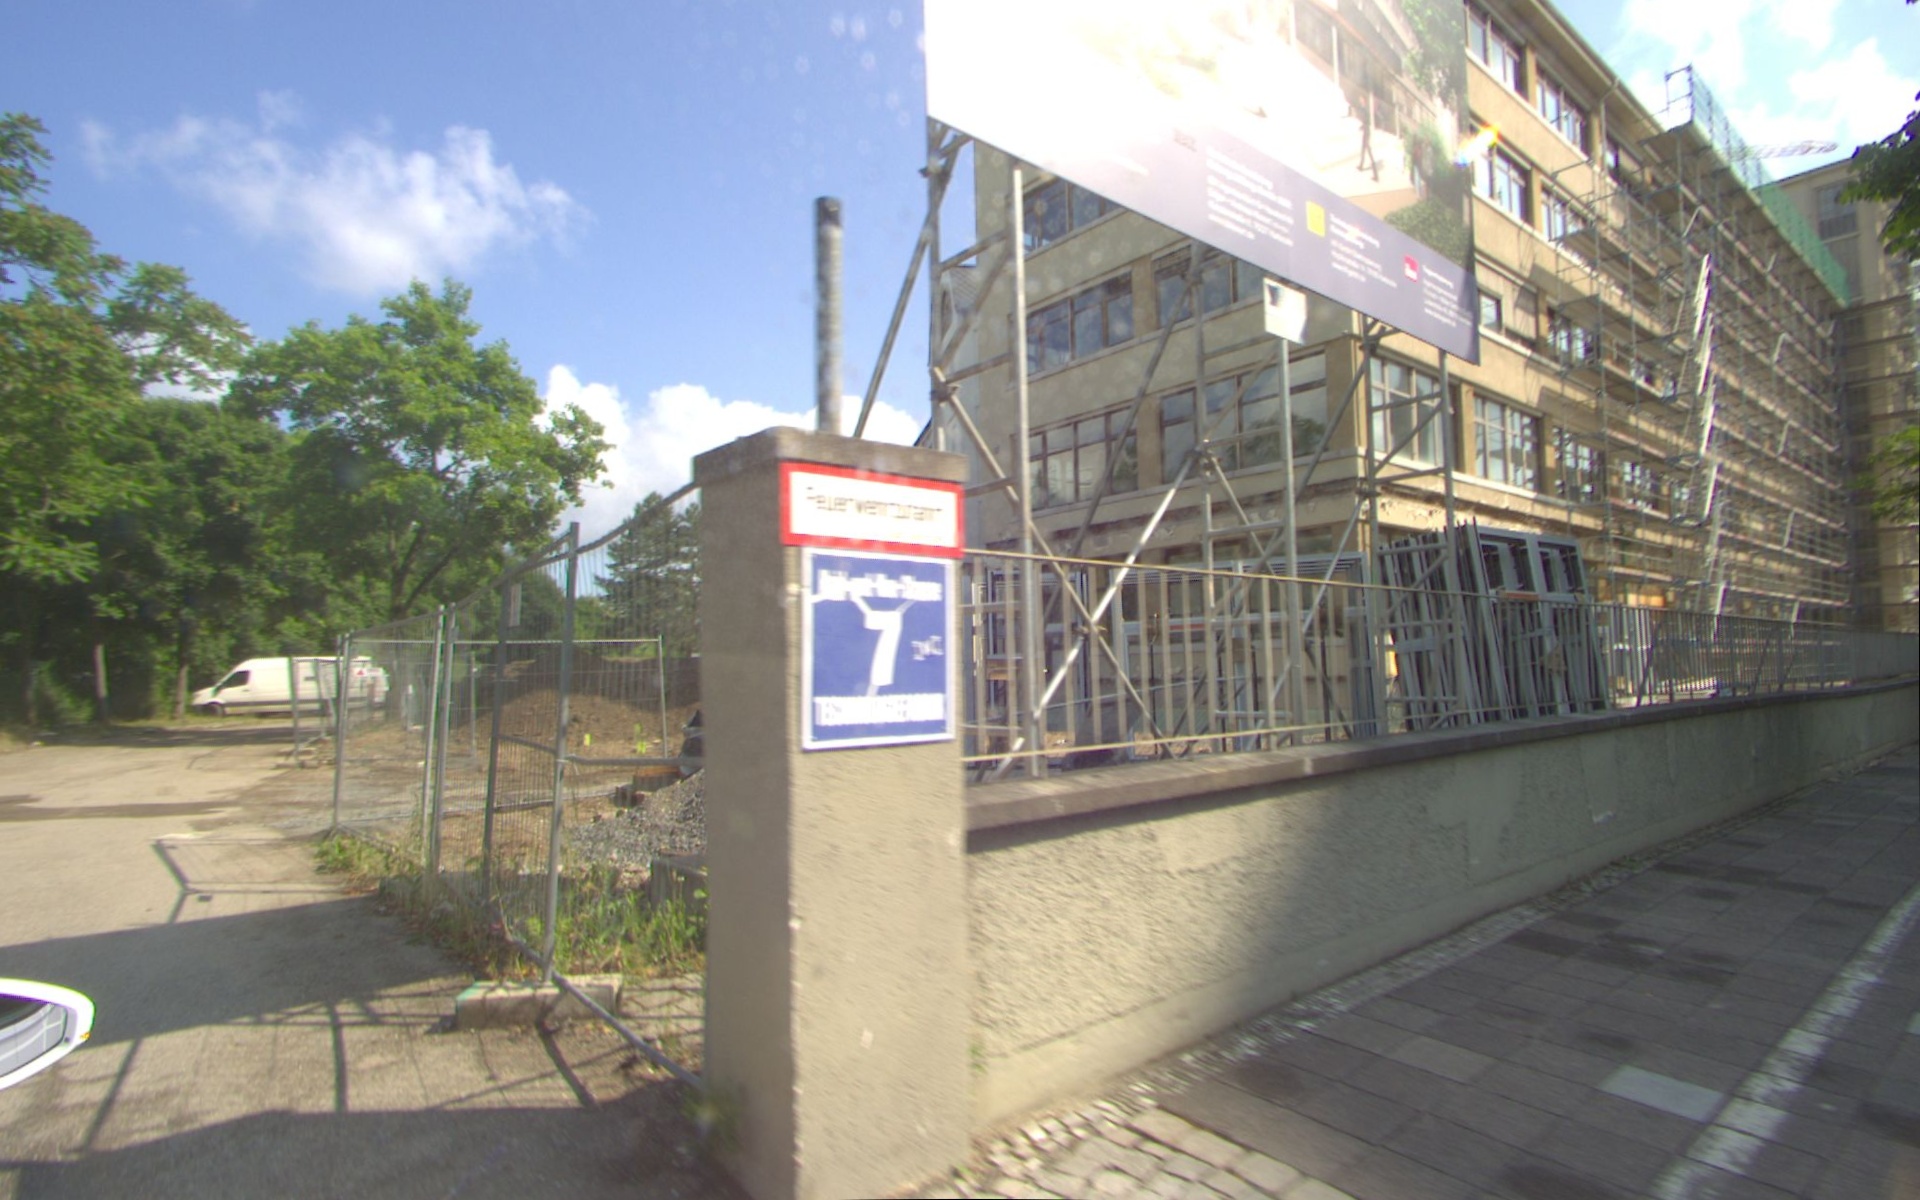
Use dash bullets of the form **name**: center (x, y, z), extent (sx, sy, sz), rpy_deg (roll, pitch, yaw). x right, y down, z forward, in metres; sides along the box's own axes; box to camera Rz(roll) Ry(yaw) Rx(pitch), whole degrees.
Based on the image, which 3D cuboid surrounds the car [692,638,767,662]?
- **car**: center (-15.476, 3.387, 67.464), extent (4.778, 1.446, 1.843), rpy_deg (2, -1, -11)

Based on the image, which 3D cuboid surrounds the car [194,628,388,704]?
- **car**: center (-29.415, 2.916, 44.387), extent (6.874, 3.088, 1.990), rpy_deg (3, 1, -28)
